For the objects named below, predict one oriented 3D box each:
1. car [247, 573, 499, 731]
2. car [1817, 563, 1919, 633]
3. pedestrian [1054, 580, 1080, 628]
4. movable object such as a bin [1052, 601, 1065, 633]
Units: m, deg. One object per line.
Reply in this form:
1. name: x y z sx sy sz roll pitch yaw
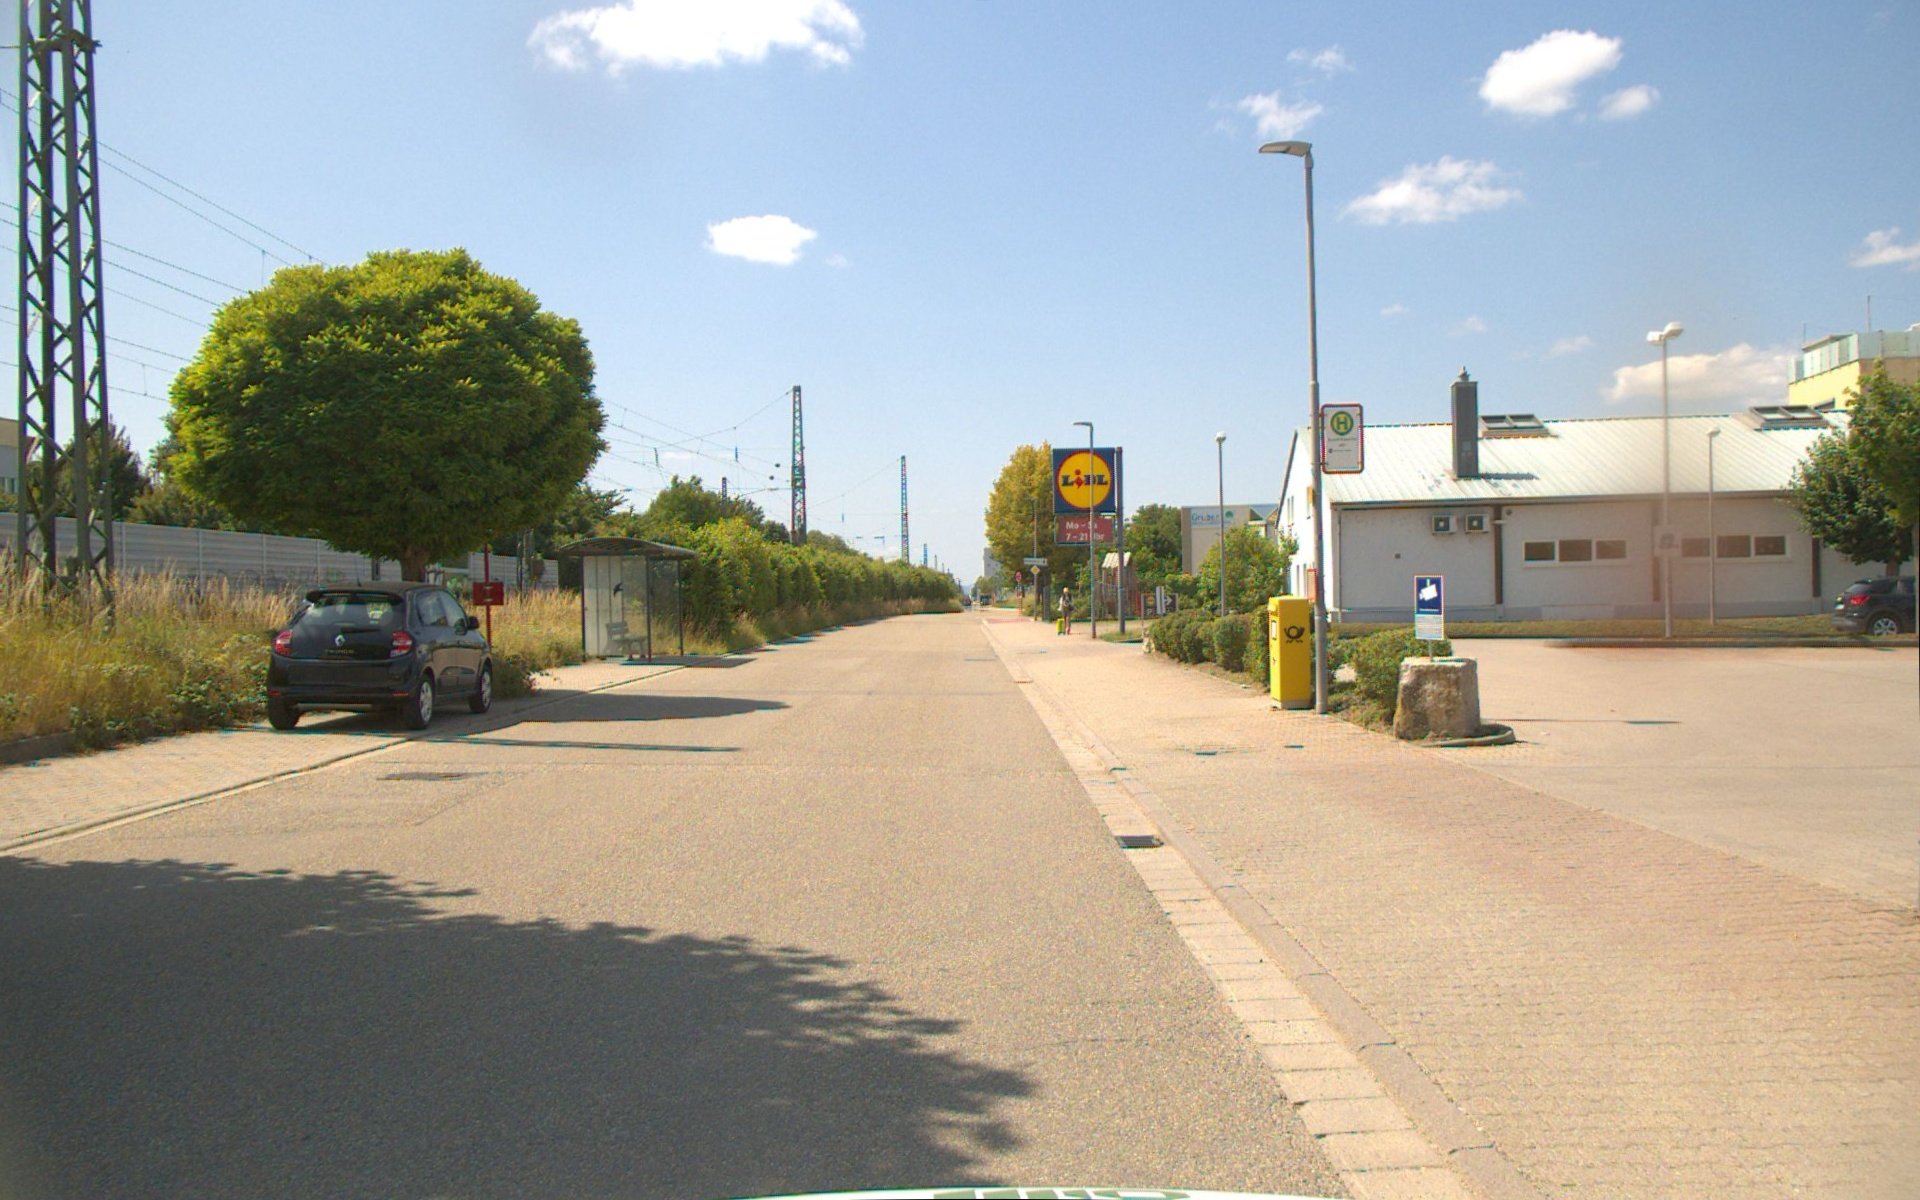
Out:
1. car: -6.565 0.530 18.893 1.706 1.624 3.578 0 0 -2
2. car: 21.753 -0.069 37.326 3.902 1.520 2.002 -1 0 13
3. pedestrian: 3.694 0.133 57.247 0.746 1.630 1.209 -1 0 -3
4. movable object such as a bin: 3.372 0.582 56.687 0.367 1.047 0.498 -2 0 -5
